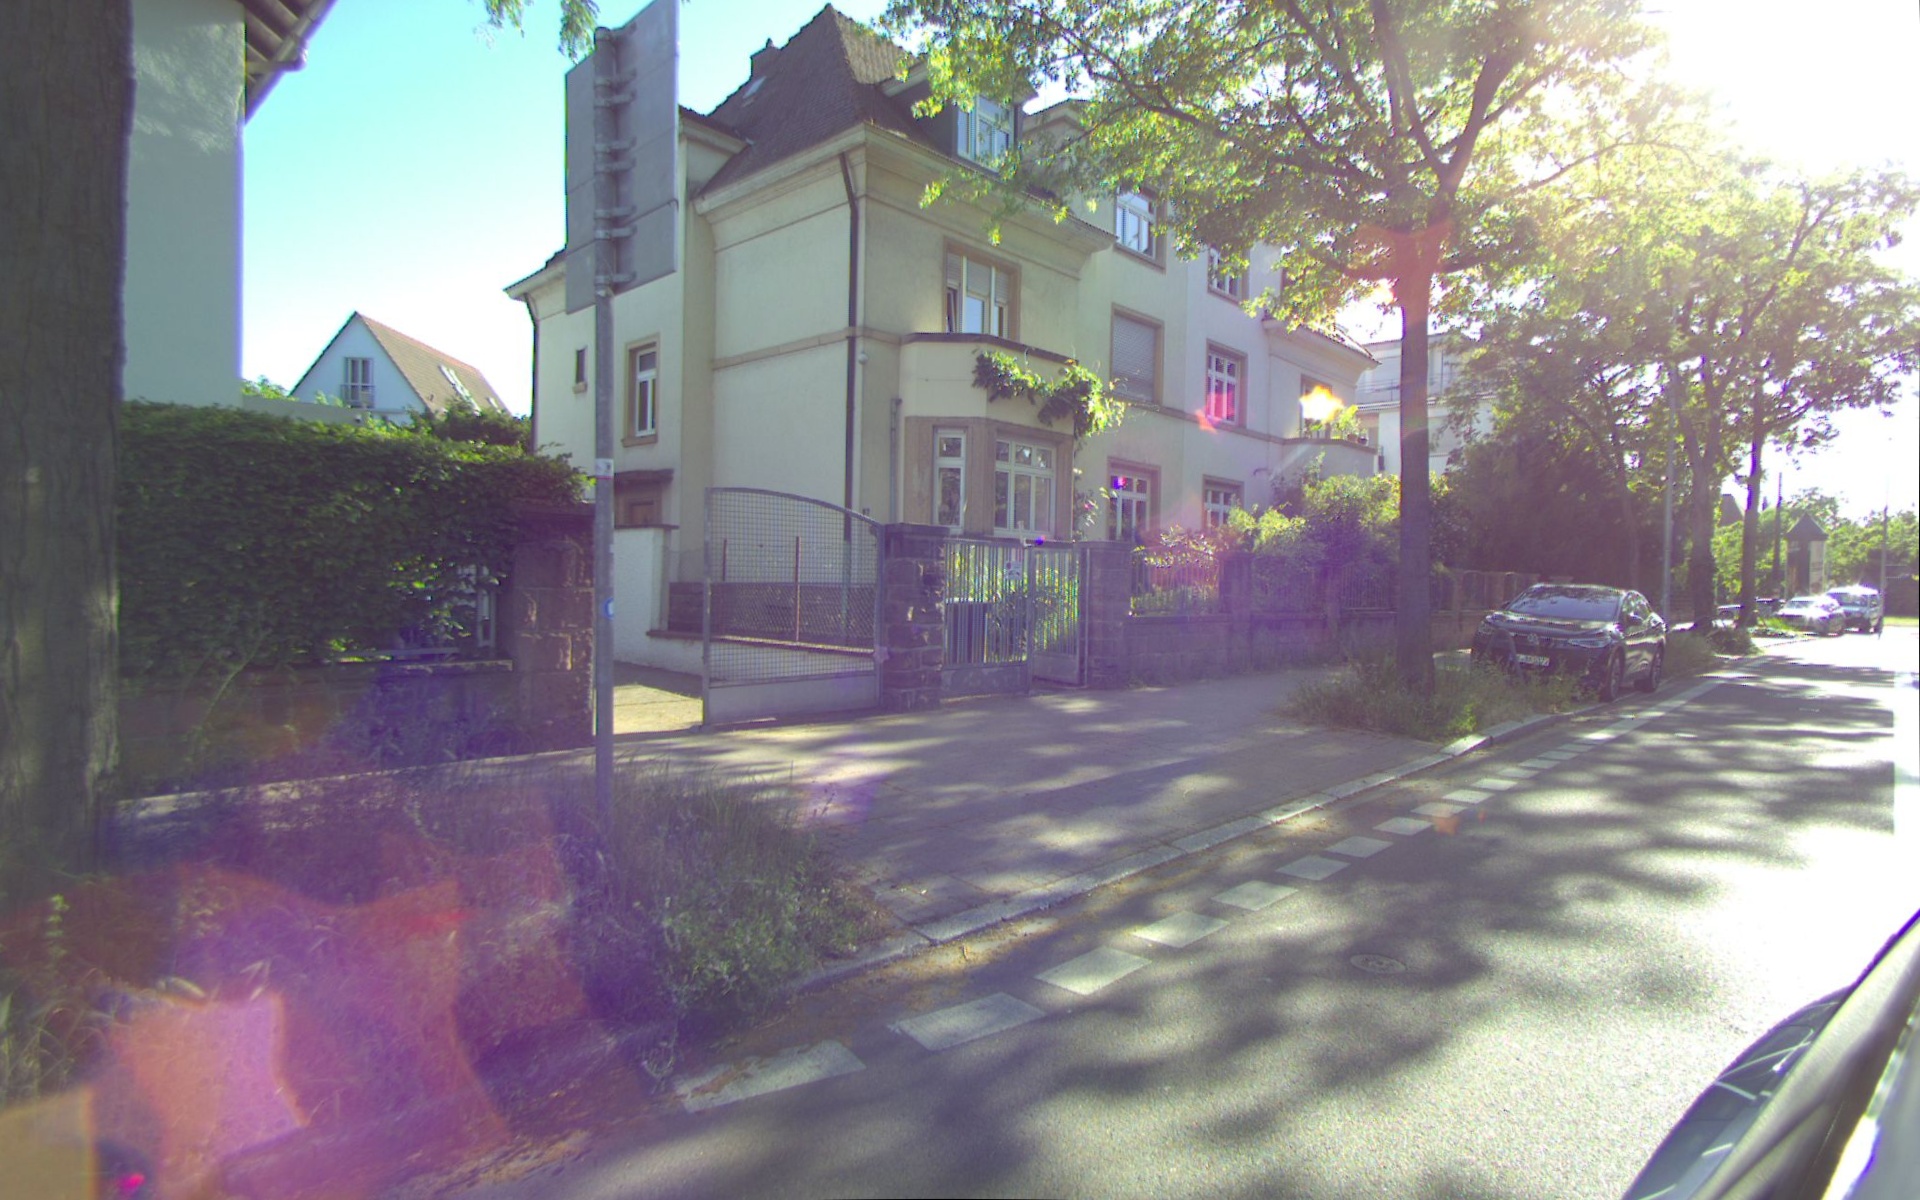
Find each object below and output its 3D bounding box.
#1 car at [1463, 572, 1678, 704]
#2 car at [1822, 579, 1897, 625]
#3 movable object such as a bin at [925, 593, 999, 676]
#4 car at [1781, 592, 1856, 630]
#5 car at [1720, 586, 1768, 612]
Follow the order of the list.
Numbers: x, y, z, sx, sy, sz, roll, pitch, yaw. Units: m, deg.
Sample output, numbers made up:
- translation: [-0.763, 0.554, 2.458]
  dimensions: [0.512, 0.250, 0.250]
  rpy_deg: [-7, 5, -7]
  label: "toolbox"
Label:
- translation: [9.526, 0.464, 15.655]
  dimensions: [1.994, 1.765, 4.105]
  rpy_deg: [1, 1, 44]
  label: "car"
- translation: [38.183, 0.061, 42.930]
  dimensions: [4.175, 1.852, 1.903]
  rpy_deg: [-1, 1, -41]
  label: "car"
- translation: [0.015, 0.441, 13.770]
  dimensions: [0.712, 1.068, 0.969]
  rpy_deg: [0, 1, -20]
  label: "movable object such as a bin"
- translation: [33.191, 0.376, 39.085]
  dimensions: [3.850, 1.356, 1.718]
  rpy_deg: [-1, 1, -42]
  label: "car"
- translation: [47.131, -0.073, 60.846]
  dimensions: [3.934, 1.460, 1.738]
  rpy_deg: [-1, 1, -44]
  label: "car"
